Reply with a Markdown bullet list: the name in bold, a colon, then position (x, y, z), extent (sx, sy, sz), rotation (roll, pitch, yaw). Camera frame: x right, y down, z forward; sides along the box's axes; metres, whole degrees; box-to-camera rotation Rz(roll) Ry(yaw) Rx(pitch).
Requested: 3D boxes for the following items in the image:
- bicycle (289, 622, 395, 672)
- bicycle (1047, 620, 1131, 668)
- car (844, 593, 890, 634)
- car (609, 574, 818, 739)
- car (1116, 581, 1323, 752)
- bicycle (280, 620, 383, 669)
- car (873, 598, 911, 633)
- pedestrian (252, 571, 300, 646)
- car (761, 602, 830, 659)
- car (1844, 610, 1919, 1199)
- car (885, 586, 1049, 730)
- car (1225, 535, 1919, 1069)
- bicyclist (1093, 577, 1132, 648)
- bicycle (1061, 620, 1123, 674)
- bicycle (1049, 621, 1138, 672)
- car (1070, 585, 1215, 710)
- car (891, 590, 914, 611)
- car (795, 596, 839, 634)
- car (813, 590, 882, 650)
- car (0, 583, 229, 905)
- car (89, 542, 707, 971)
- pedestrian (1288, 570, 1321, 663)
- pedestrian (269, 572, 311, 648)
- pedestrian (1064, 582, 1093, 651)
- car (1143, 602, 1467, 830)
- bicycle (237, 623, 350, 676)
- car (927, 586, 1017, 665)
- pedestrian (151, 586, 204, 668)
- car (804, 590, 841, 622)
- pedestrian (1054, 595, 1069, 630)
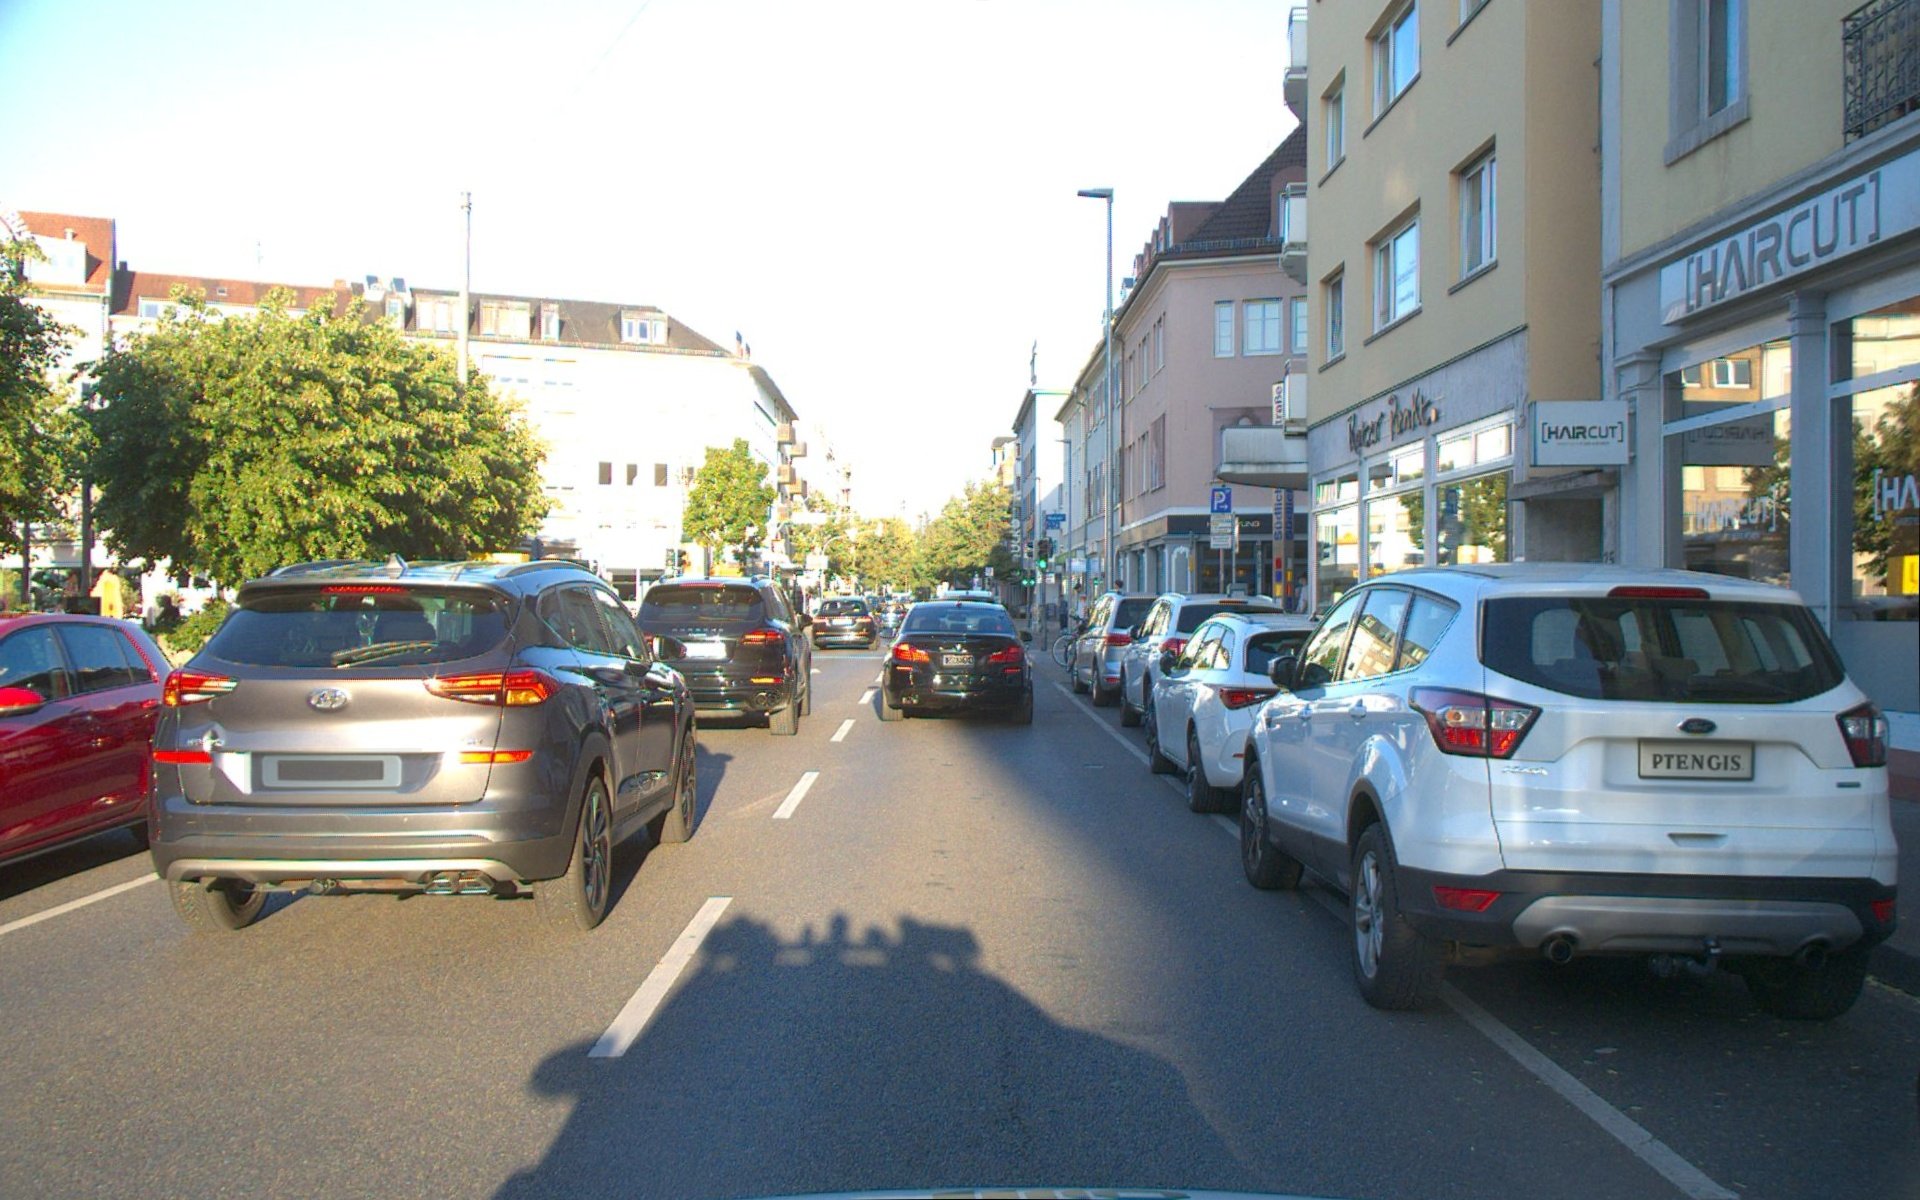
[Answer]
- **bicycle**: position (-11.843, 0.899, 31.712), extent (1.789, 0.868, 0.483), rotation (3, 0, -5)
- **bicycle**: position (2.713, 0.920, 34.832), extent (1.729, 0.984, 0.490), rotation (1, 0, 4)
- **car**: position (-3.738, 0.529, 66.907), extent (1.743, 1.574, 3.999), rotation (0, 0, -2)
- **car**: position (-2.684, 0.576, 18.904), extent (1.858, 1.678, 4.103), rotation (0, 0, -2)
- **car**: position (2.830, 0.693, 18.777), extent (1.694, 1.681, 3.828), rotation (2, 0, 0)
- **bicycle**: position (-12.388, 0.873, 32.613), extent (1.789, 0.868, 0.483), rotation (3, 0, -5)
- **car**: position (-3.143, 0.710, 76.920), extent (1.743, 1.574, 3.999), rotation (0, 0, -2)
- **pedestrian**: position (-14.955, 0.182, 36.160), extent (0.774, 1.623, 0.568), rotation (1, 0, 18)
- **car**: position (-4.812, 0.865, 48.879), extent (1.743, 1.574, 3.999), rotation (0, 0, -2)
- **car**: position (2.961, 0.772, 1.676), extent (1.694, 1.473, 4.473), rotation (2, 0, 0)
- **car**: position (0.037, 0.669, 21.088), extent (1.858, 1.609, 3.999), rotation (2, 0, -1)
- **car**: position (2.429, 0.674, 7.503), extent (1.694, 1.679, 4.284), rotation (2, 0, 0)
- **bicyclist**: position (3.902, 0.316, 42.259), extent (0.814, 1.808, 0.608), rotation (1, 0, 26)
- **bicycle**: position (2.541, 0.893, 32.044), extent (0.482, 0.984, 1.760), rotation (1, 0, -21)
- **bicycle**: position (2.697, 0.929, 33.385), extent (1.730, 0.984, 0.490), rotation (1, 0, 24)
- **car**: position (2.667, 0.678, 24.995), extent (1.694, 1.681, 3.970), rotation (2, 0, 0)
- **car**: position (-4.509, 0.040, 130.018), extent (1.743, 1.574, 3.999), rotation (0, 0, -2)
- **car**: position (-6.488, 0.666, 75.300), extent (1.657, 1.579, 3.950), rotation (-2, 0, -1)
- **car**: position (-3.084, 0.526, 45.932), extent (1.743, 1.574, 3.999), rotation (0, 0, -2)
- **car**: position (-5.559, 0.733, 8.724), extent (1.657, 1.579, 3.950), rotation (-2, 0, -1)
- **car**: position (-2.516, 0.615, 8.549), extent (1.858, 1.678, 4.103), rotation (0, 0, -1)
- **pedestrian**: position (6.942, 0.326, 33.304), extent (0.497, 1.843, 0.572), rotation (1, 0, -4)
- **pedestrian**: position (-14.339, 0.210, 35.387), extent (0.668, 1.623, 0.487), rotation (1, 0, 18)
- **pedestrian**: position (3.184, 0.441, 44.436), extent (0.685, 1.843, 0.634), rotation (1, 0, -4)
- **car**: position (2.560, 0.795, 13.264), extent (1.694, 1.476, 4.312), rotation (2, 0, 0)
- **bicycle**: position (-12.034, 0.893, 29.905), extent (1.789, 0.868, 0.483), rotation (3, 0, -5)
- **car**: position (0.212, 0.535, 36.819), extent (1.858, 1.609, 3.999), rotation (2, 0, -1)
- **pedestrian**: position (-15.757, 0.531, 33.301), extent (0.774, 1.623, 0.568), rotation (1, 0, 18)
- **car**: position (-7.203, 0.309, 86.801), extent (1.657, 1.579, 3.950), rotation (-2, 0, -1)
- **pedestrian**: position (4.572, 0.568, 74.611), extent (0.619, 1.561, 0.702), rotation (1, 0, 2)
